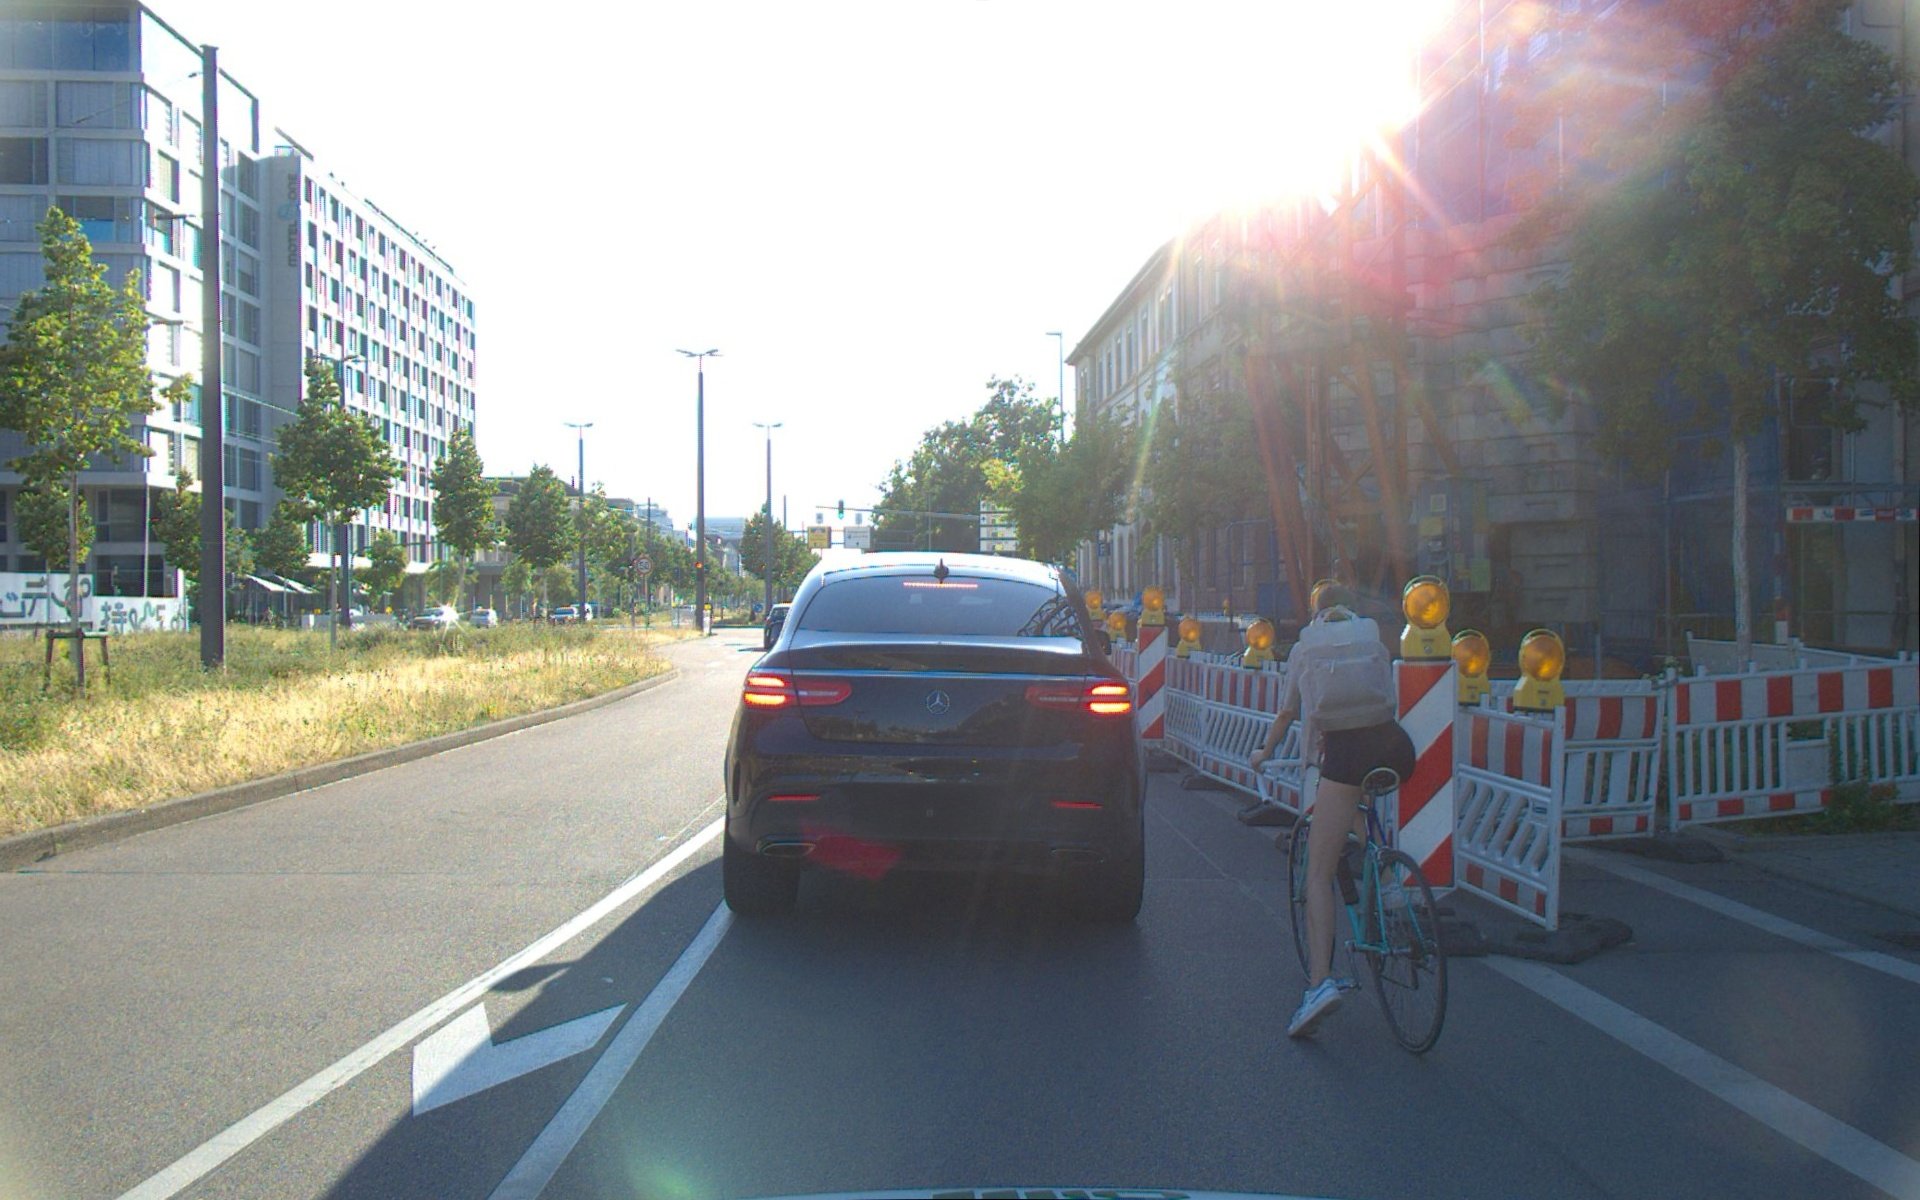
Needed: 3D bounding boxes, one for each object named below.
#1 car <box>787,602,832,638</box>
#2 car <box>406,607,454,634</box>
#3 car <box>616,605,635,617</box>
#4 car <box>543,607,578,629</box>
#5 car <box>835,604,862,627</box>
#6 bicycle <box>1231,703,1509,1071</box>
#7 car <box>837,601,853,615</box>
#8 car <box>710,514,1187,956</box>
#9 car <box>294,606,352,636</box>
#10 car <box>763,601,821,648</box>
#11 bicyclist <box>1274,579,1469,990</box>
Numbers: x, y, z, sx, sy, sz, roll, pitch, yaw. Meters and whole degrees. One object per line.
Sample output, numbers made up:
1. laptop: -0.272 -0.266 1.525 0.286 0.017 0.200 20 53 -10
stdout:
1. car: -6.249 0.823 68.992 1.674 1.467 3.580 1 0 -3
2. car: -29.859 1.122 93.314 1.674 1.467 3.580 1 0 -3
3. car: -41.109 1.381 203.425 1.674 1.467 3.580 1 0 -3
4. car: -27.595 1.244 114.275 1.674 1.467 3.580 1 0 -3
5. car: -7.172 0.976 106.719 1.674 1.467 3.580 1 0 -3
6. bicycle: 1.457 0.975 6.163 0.502 1.070 1.724 1 0 -3
7. car: -12.762 0.902 183.557 1.674 1.467 3.580 1 0 -3
8. car: -0.073 0.568 8.860 1.953 1.803 3.999 1 0 -1
9. car: -32.057 1.046 83.284 1.674 1.467 3.580 1 0 -3
10. car: -5.499 0.794 54.419 1.674 1.467 3.580 1 0 -3
11. bicyclist: 1.485 0.641 6.033 0.512 1.420 0.614 1 -1 -4
